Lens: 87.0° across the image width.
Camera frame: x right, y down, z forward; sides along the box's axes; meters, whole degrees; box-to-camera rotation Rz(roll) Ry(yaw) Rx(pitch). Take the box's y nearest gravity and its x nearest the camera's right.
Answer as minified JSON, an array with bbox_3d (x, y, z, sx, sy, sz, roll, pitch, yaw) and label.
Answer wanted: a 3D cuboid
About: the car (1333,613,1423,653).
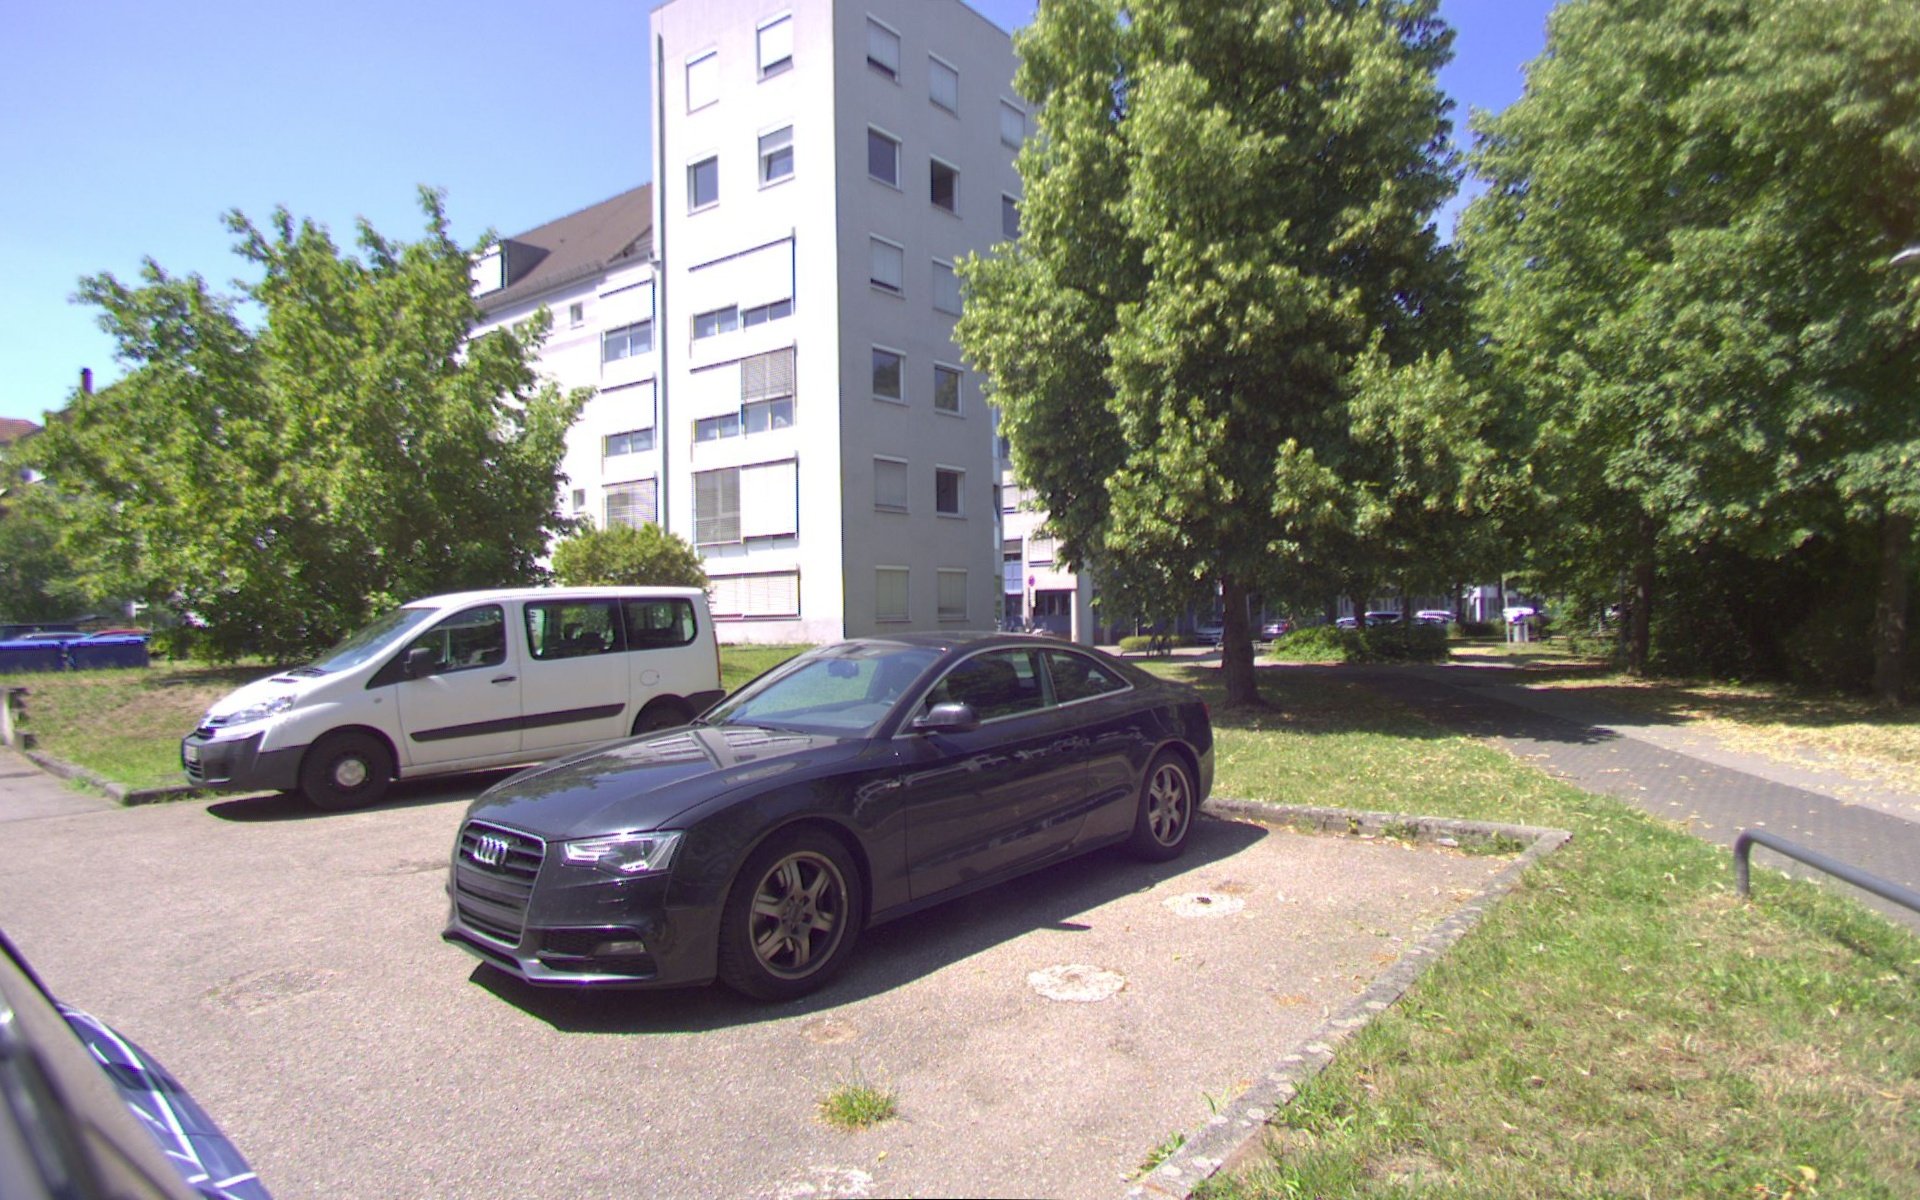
[{"bbox_3d":[22.088,1.700,53.505,3.995,2.029,1.974,-1,-1,39],"label":"car"}]

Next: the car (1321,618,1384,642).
[{"bbox_3d":[27.626,2.111,71.281,3.890,1.643,1.515,-1,-1,39],"label":"car"}]

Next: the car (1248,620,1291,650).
[{"bbox_3d":[17.913,1.972,58.467,1.798,1.615,3.860,-1,-1,26],"label":"car"}]

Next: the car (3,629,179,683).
[{"bbox_3d":[-28.598,1.781,33.425,1.610,1.581,4.174,-1,-1,35],"label":"car"}]

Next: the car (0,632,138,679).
[{"bbox_3d":[-33.558,2.036,37.793,1.610,1.581,4.174,-1,-1,35],"label":"car"}]

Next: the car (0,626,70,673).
[{"bbox_3d":[-38.864,2.012,40.805,2.005,1.837,4.174,-1,-1,35],"label":"car"}]

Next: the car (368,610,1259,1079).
[{"bbox_3d":[-0.392,0.809,5.389,2.024,1.390,4.381,-4,-3,43],"label":"car"}]

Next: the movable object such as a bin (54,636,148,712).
[{"bbox_3d":[-16.881,1.427,19.899,1.095,1.399,1.255,-1,-1,41],"label":"movable object such as a bin"}]

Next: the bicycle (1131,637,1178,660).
[{"bbox_3d":[6.253,1.562,32.450,0.734,0.646,1.594,-5,-3,42],"label":"bicycle"}]

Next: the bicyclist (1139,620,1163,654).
[{"bbox_3d":[6.098,1.166,32.304,0.518,1.053,0.515,-5,-4,43],"label":"bicyclist"}]

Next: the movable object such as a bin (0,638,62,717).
[{"bbox_3d":[-17.695,1.424,18.907,1.095,1.399,1.255,-1,-1,41],"label":"movable object such as a bin"}]

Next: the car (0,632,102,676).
[{"bbox_3d":[-36.254,2.099,39.340,1.610,1.581,4.174,-1,-1,35],"label":"car"}]

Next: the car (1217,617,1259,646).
[{"bbox_3d":[16.629,1.846,60.424,1.798,1.615,3.860,-1,-1,26],"label":"car"}]

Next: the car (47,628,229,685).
[{"bbox_3d":[-25.688,1.700,31.750,1.610,1.581,4.174,-1,-1,35],"label":"car"}]

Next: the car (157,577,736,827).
[{"bbox_3d":[-4.858,0.795,10.169,2.067,1.898,4.794,-1,-1,43],"label":"car"}]

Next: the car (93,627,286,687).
[{"bbox_3d":[-23.146,1.662,30.565,1.610,1.581,4.393,-1,-1,35],"label":"car"}]

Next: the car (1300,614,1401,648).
[{"bbox_3d":[19.549,1.545,50.776,4.336,1.622,1.908,-1,-1,39],"label":"car"}]
